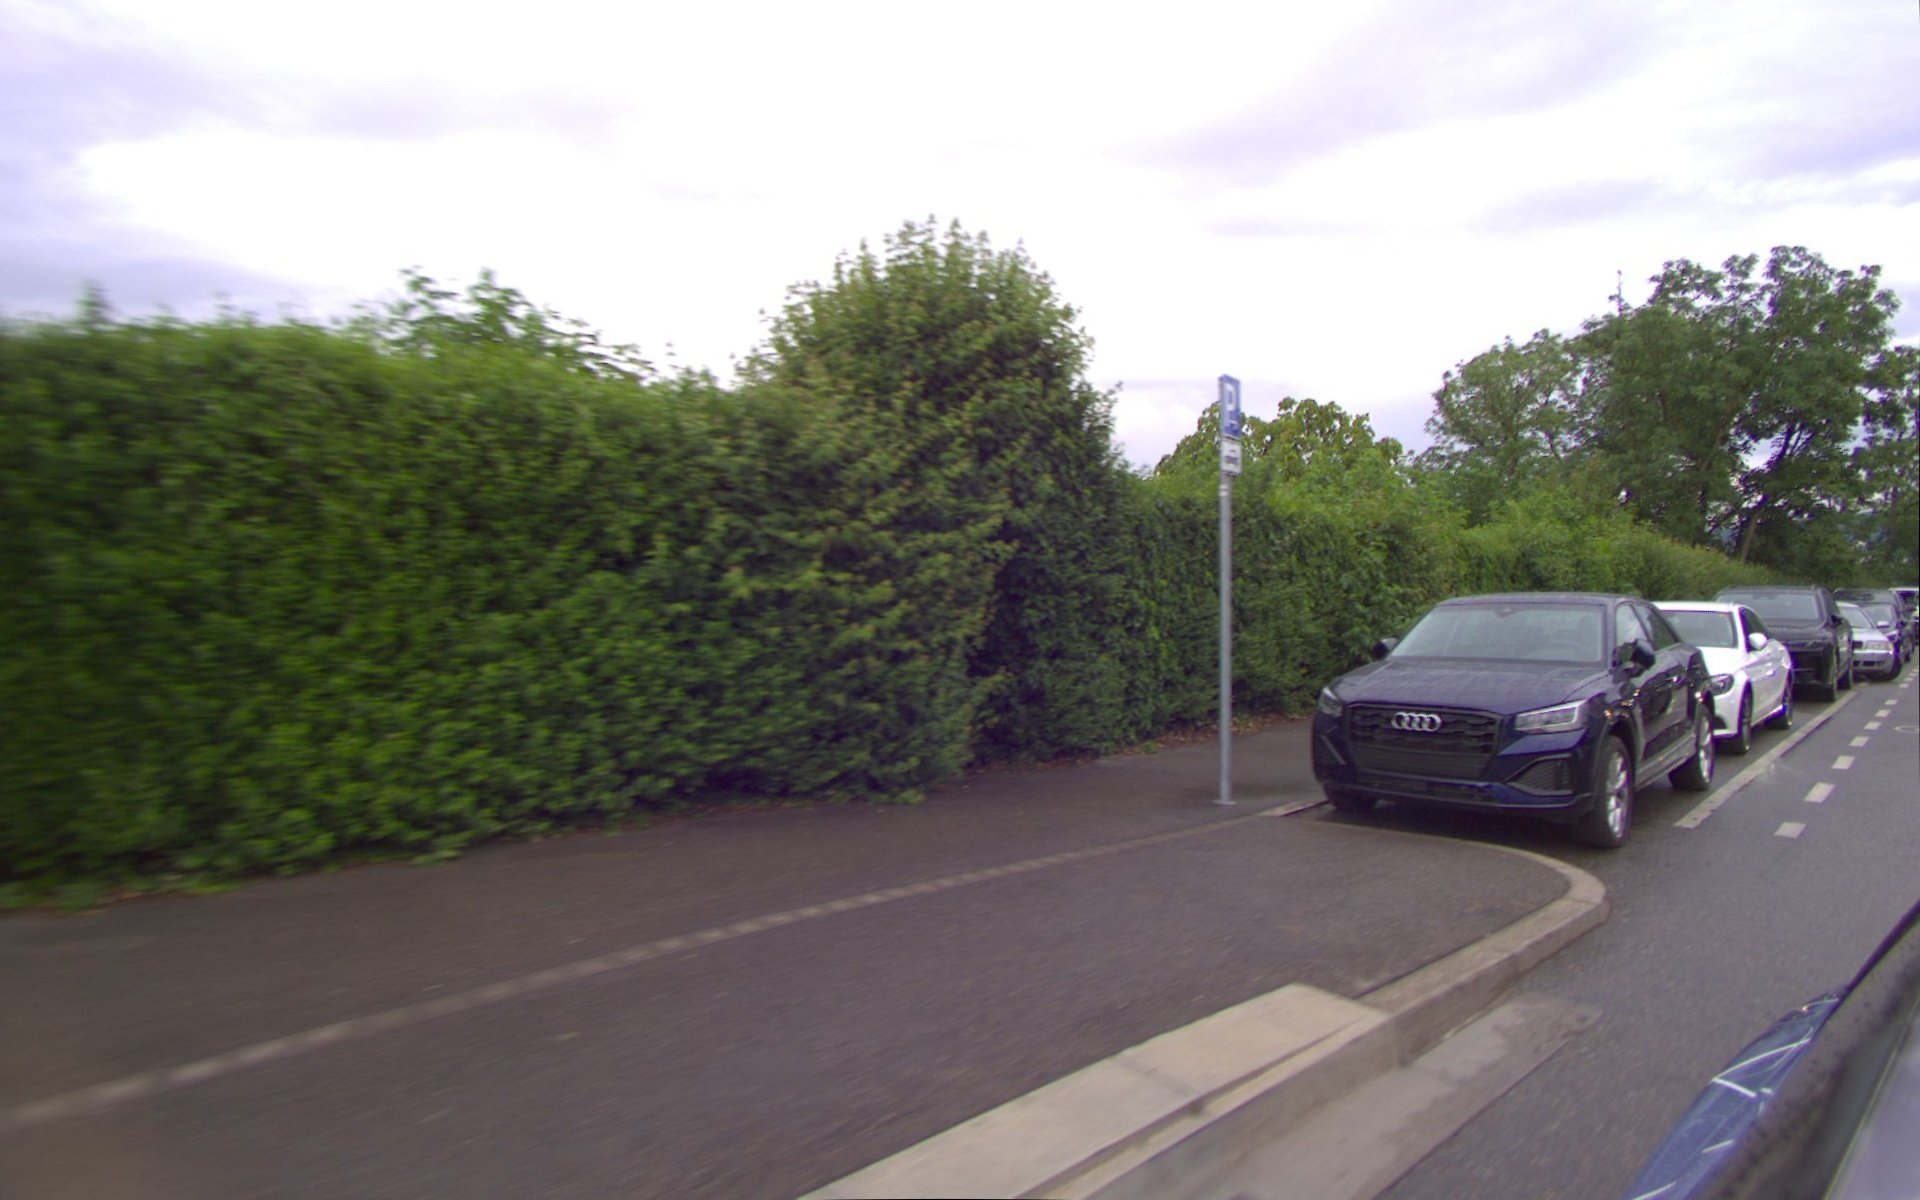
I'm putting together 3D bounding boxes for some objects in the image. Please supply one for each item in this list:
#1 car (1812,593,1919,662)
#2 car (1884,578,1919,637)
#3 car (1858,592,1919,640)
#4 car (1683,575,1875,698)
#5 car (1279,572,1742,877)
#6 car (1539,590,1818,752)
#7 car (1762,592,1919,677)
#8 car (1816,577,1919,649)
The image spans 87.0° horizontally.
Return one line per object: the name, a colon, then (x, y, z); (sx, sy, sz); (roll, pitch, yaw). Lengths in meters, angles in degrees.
car: (21.532, 0.578, 23.882); (3.916, 1.440, 1.690); (-1, 1, -43)
car: (34.292, 0.278, 35.484); (4.717, 1.972, 1.866); (1, 2, -36)
car: (29.646, 0.485, 31.981); (1.672, 1.432, 3.681); (1, 1, 45)
car: (13.110, 0.505, 16.100); (4.474, 1.684, 1.888); (0, -1, -45)
car: (4.111, 0.617, 7.226); (4.136, 1.549, 1.755); (-1, 0, -44)
car: (8.039, 0.631, 11.139); (4.532, 1.423, 1.714); (0, -1, -44)
car: (17.057, 0.586, 19.681); (1.791, 1.458, 4.588); (0, 0, 32)
car: (25.287, 0.323, 27.895); (4.816, 1.805, 2.029); (1, 0, -43)
